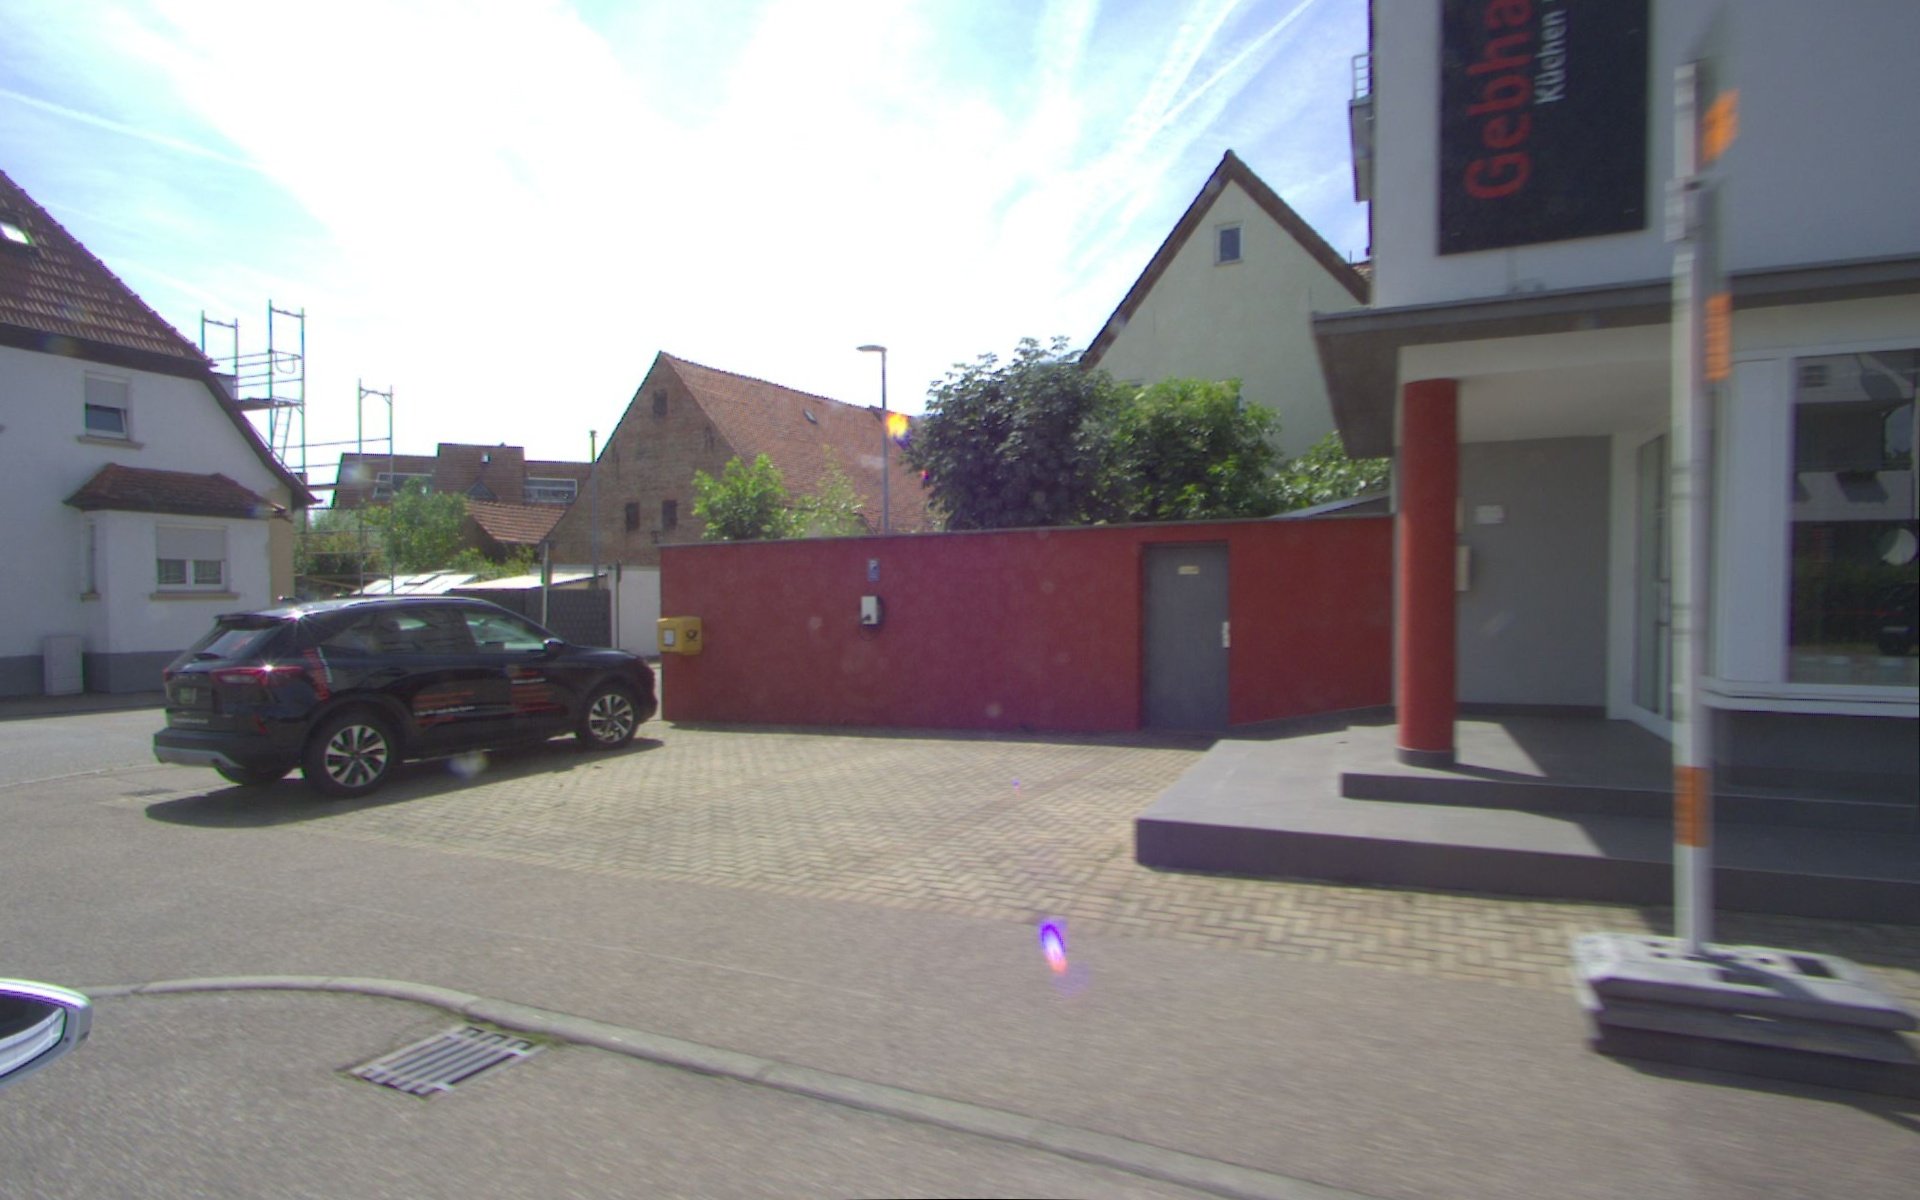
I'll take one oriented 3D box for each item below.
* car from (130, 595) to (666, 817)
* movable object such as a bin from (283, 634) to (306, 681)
[{"bbox_3d":[-5.156,0.820,9.850,1.820,1.675,4.287,0,0,30],"label":"car"},{"bbox_3d":[-13.851,1.196,20.837,0.354,0.958,0.227,-1,0,19],"label":"movable object such as a bin"}]
